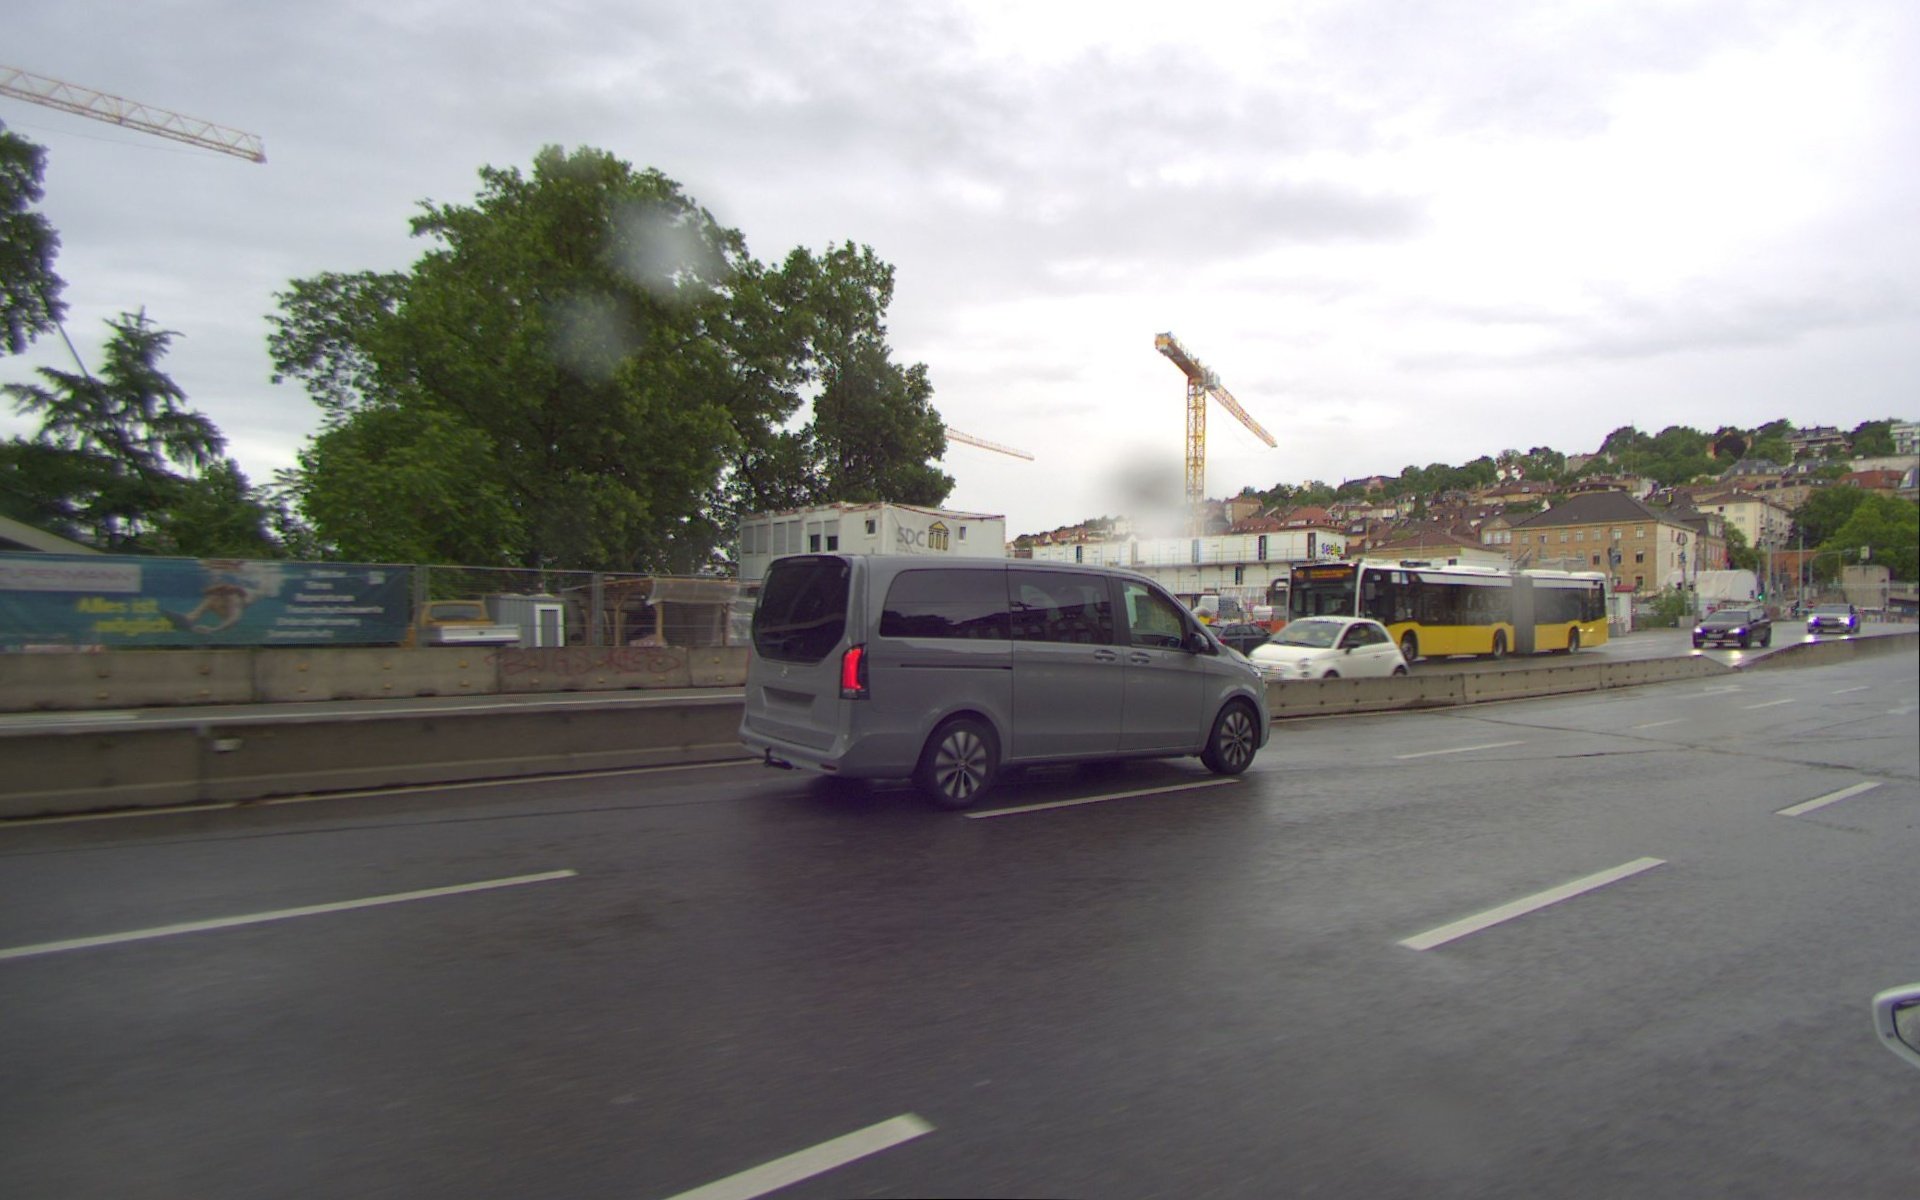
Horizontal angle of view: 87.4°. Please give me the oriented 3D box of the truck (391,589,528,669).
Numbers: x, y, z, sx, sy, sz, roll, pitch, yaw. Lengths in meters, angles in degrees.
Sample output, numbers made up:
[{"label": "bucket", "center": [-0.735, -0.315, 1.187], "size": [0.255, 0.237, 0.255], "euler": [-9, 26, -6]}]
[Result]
[{"label": "truck", "center": [-14.128, 0.829, 28.205], "size": [2.147, 2.040, 5.201], "euler": [2, -3, -41]}]

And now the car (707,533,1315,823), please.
[{"label": "car", "center": [0.684, 0.582, 8.894], "size": [5.306, 1.881, 1.980], "euler": [2, -1, -36]}]

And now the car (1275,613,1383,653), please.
[{"label": "car", "center": [15.825, 1.427, 42.972], "size": [4.625, 1.586, 1.755], "euler": [3, -3, -29]}]

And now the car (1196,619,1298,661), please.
[{"label": "car", "center": [11.573, 1.576, 40.424], "size": [4.134, 1.586, 1.750], "euler": [0, -1, -36]}]

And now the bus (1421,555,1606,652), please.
[{"label": "bus", "center": [20.568, 0.267, 37.038], "size": [9.070, 3.193, 2.682], "euler": [2, -2, -39]}]

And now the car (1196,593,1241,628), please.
[{"label": "car", "center": [22.518, 0.957, 87.384], "size": [1.968, 2.867, 5.294], "euler": [-1, -3, 37]}]

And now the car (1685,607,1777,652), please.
[{"label": "car", "center": [31.923, 1.256, 41.568], "size": [4.893, 1.683, 2.022], "euler": [3, -3, -40]}]

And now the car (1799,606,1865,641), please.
[{"label": "car", "center": [49.509, 1.377, 56.971], "size": [5.255, 1.778, 1.978], "euler": [3, -3, -39]}]

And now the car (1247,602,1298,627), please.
[{"label": "car", "center": [26.137, 1.227, 83.836], "size": [1.972, 2.040, 5.282], "euler": [-1, -1, 43]}]

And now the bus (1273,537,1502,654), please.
[{"label": "bus", "center": [13.584, 0.033, 31.524], "size": [8.730, 3.226, 2.785], "euler": [2, -3, -39]}]

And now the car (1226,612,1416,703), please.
[{"label": "car", "center": [6.640, 1.046, 18.386], "size": [3.419, 1.509, 1.697], "euler": [3, -3, -37]}]

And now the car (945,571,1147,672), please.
[{"label": "car", "center": [2.636, 0.717, 31.200], "size": [5.945, 2.912, 1.996], "euler": [2, -2, -11]}]
